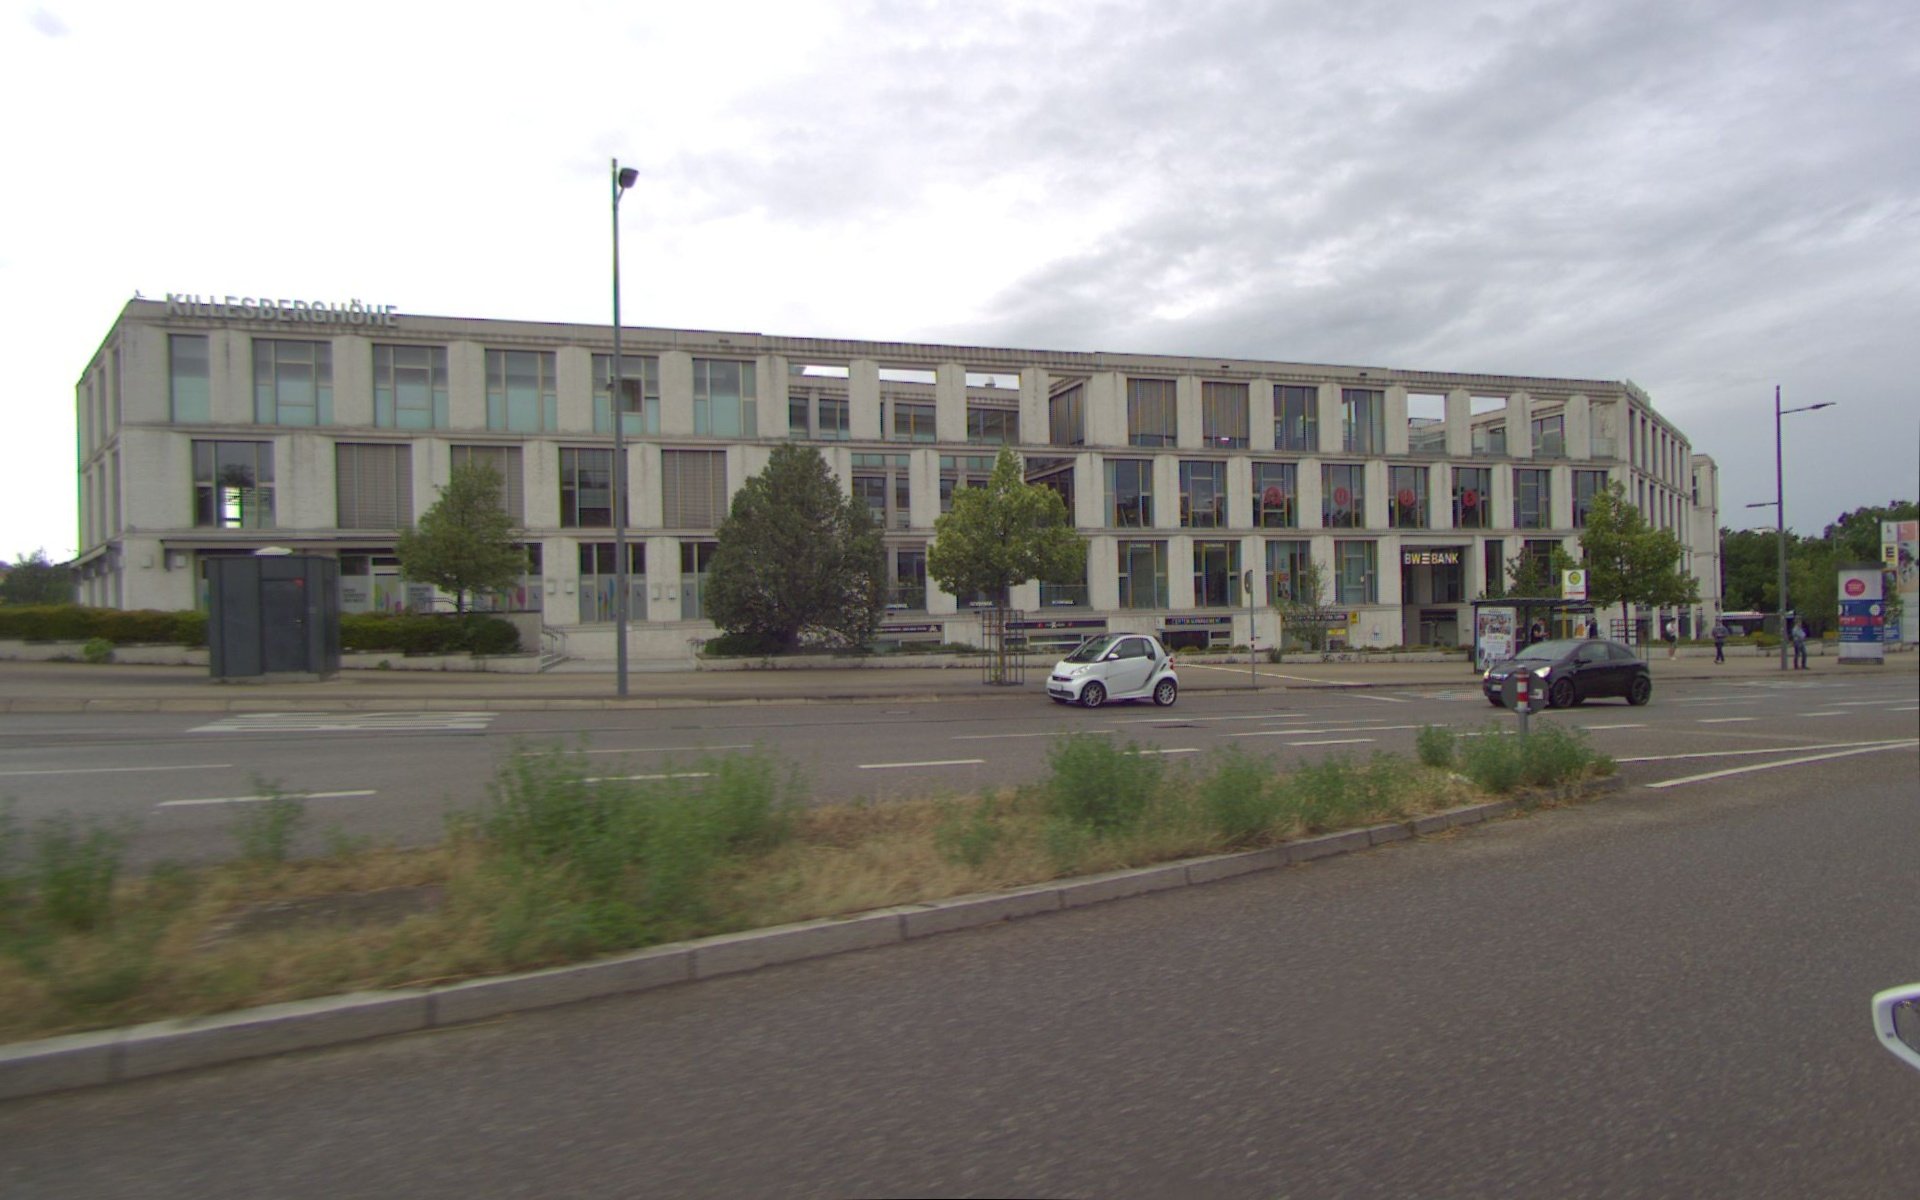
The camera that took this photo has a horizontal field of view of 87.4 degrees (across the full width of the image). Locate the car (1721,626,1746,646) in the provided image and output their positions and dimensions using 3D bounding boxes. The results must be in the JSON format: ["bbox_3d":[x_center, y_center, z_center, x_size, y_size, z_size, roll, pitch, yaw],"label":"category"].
[{"bbox_3d":[69.650,3.232,90.497,1.751,1.754,3.984,-1,-2,38],"label":"car"}]

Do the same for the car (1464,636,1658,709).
[{"bbox_3d":[13.283,1.566,22.217,3.814,1.481,1.842,1,-3,-25],"label":"car"}]

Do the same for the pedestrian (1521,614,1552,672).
[{"bbox_3d":[18.650,1.377,32.492,0.745,1.866,0.506,1,-1,-25],"label":"pedestrian"}]

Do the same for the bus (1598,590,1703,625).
[{"bbox_3d":[71.524,0.863,104.203,2.869,3.351,8.490,0,-2,-36],"label":"bus"}]

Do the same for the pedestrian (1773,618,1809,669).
[{"bbox_3d":[30.974,1.616,37.436,0.735,1.866,0.752,0,-1,-22],"label":"pedestrian"}]

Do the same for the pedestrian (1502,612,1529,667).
[{"bbox_3d":[19.398,1.379,35.091,0.599,1.880,0.578,1,-1,-26],"label":"pedestrian"}]

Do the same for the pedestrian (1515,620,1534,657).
[{"bbox_3d":[22.628,1.541,40.260,0.503,1.470,0.425,1,-1,-24],"label":"pedestrian"}]

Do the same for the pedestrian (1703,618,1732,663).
[{"bbox_3d":[30.819,1.647,40.881,0.845,1.785,0.597,0,-1,-22],"label":"pedestrian"}]

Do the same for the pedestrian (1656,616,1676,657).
[{"bbox_3d":[30.227,1.565,43.027,0.908,1.712,0.493,1,-1,-41],"label":"pedestrian"}]

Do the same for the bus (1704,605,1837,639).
[{"bbox_3d":[77.204,2.145,95.953,2.855,3.144,9.707,0,-2,-22],"label":"bus"}]

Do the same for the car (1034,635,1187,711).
[{"bbox_3d":[3.310,1.563,22.112,2.932,1.528,1.609,1,0,-25],"label":"car"}]

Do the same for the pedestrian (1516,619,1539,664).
[{"bbox_3d":[22.258,1.633,39.399,0.558,1.748,0.523,0,-1,-22],"label":"pedestrian"}]
